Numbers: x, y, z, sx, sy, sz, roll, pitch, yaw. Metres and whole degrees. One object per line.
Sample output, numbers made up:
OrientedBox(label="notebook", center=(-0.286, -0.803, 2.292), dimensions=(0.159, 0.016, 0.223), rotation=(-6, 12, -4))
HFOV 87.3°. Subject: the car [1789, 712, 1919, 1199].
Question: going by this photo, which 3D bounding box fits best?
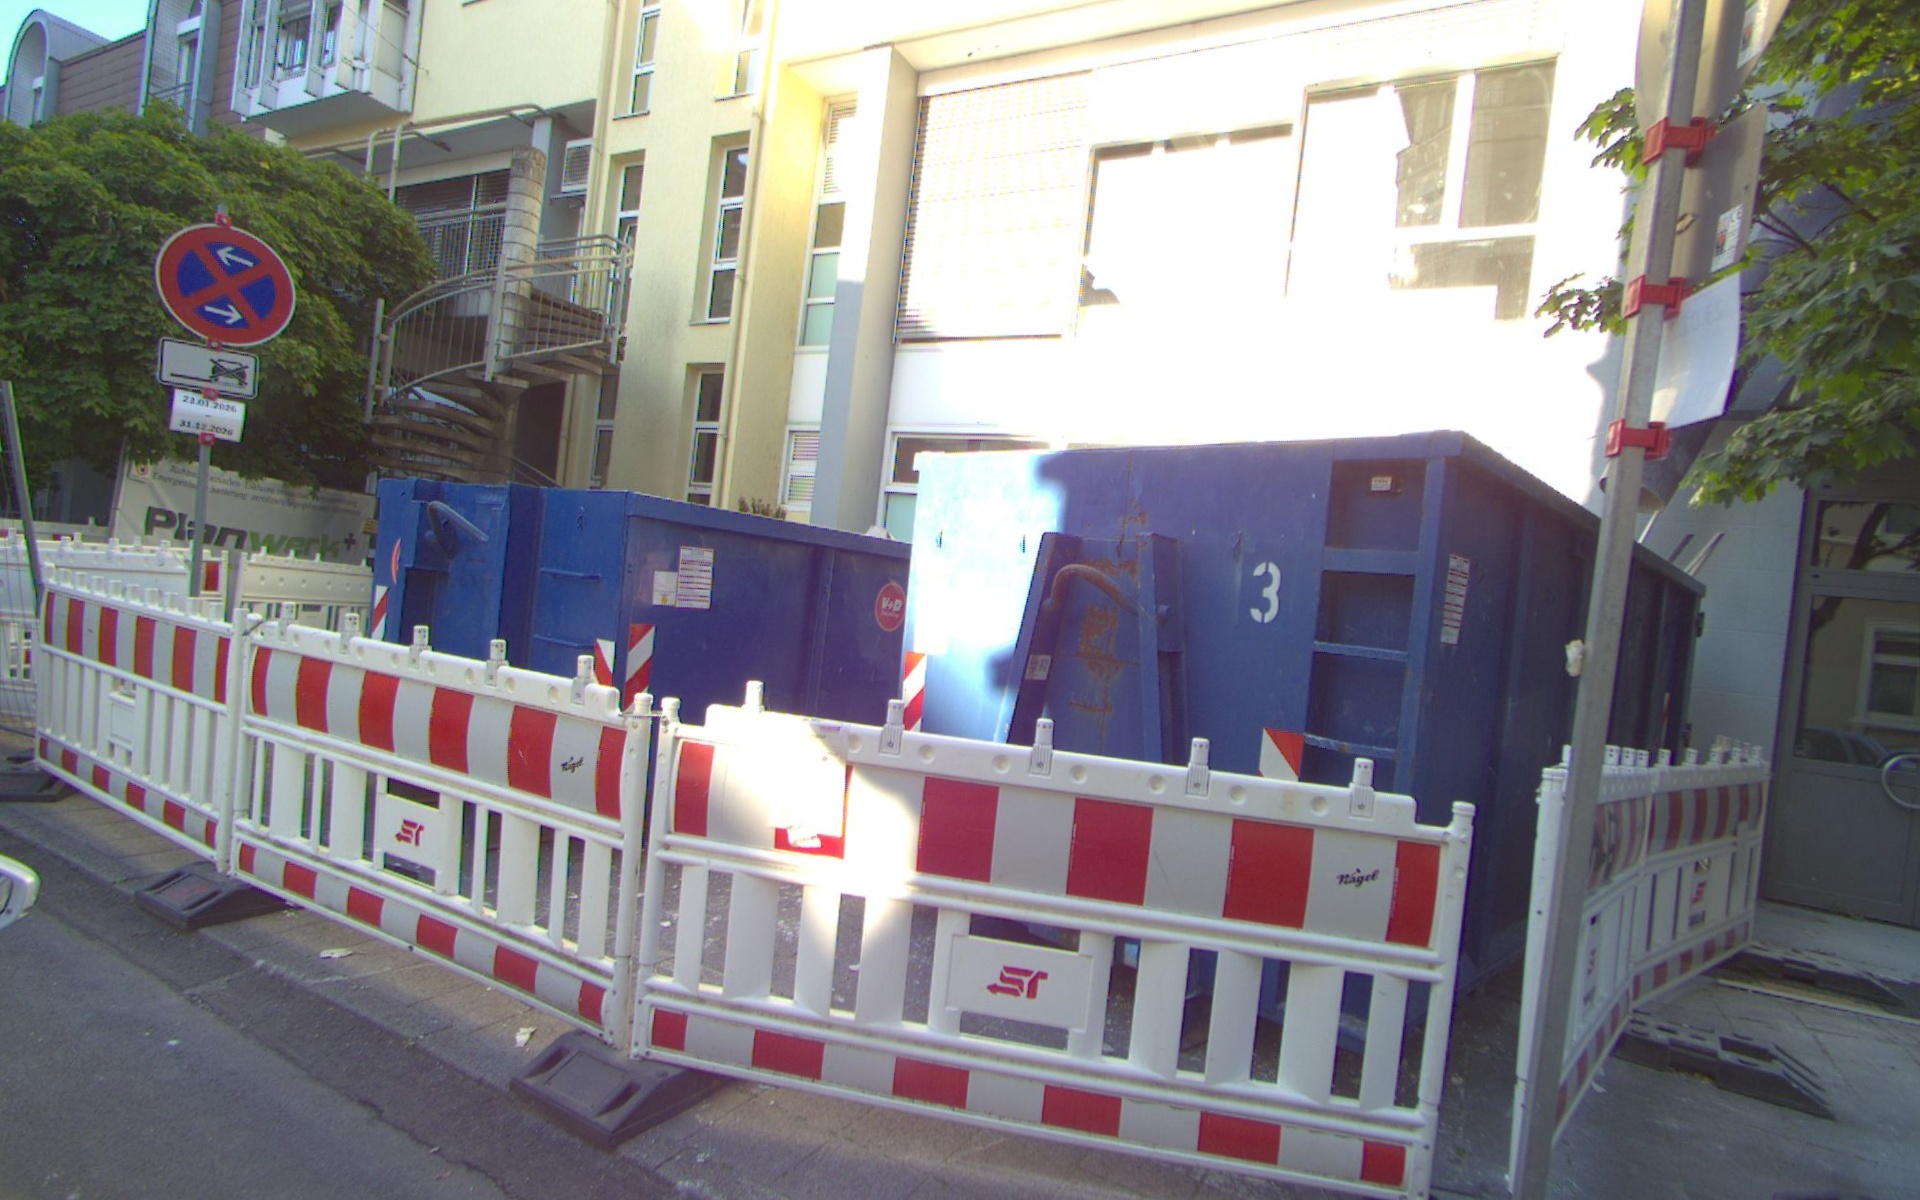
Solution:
OrientedBox(label="car", center=(2.947, 1.120, 0.490), dimensions=(3.668, 1.495, 1.677), rotation=(7, 1, 32))
